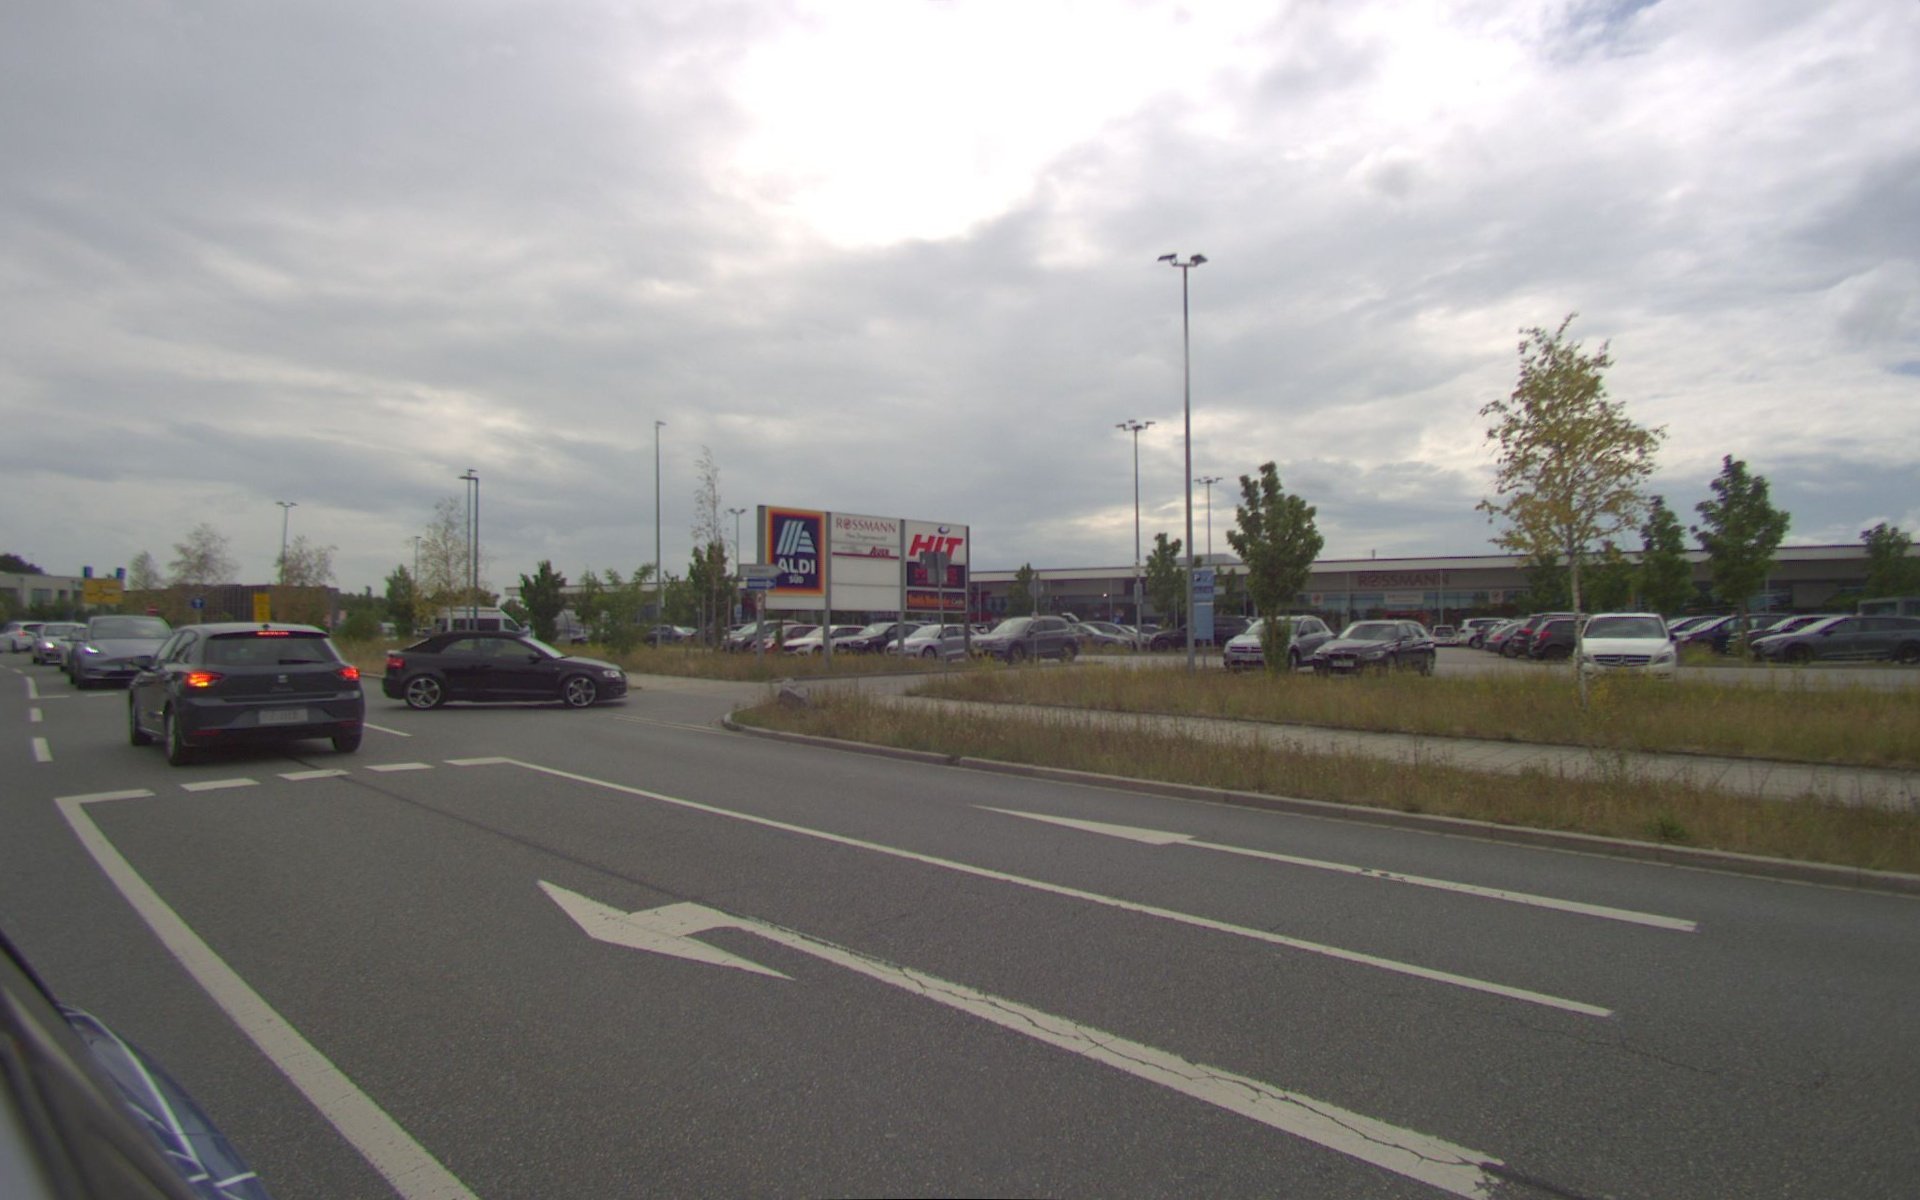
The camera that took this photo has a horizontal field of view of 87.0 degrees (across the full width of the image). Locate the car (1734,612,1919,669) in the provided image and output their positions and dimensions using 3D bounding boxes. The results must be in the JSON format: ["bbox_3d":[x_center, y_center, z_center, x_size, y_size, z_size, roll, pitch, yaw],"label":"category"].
[{"bbox_3d":[26.369,1.192,29.847,5.238,1.619,1.985,-1,-2,23],"label":"car"}]

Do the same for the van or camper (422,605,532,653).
[{"bbox_3d":[-29.971,1.801,62.943,2.238,2.821,5.800,-1,-2,35],"label":"van or camper"}]

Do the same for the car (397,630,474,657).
[{"bbox_3d":[-33.905,2.807,65.524,2.082,1.646,3.906,-2,-3,37],"label":"car"}]

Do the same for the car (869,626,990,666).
[{"bbox_3d":[-1.056,1.639,36.744,2.026,1.350,4.267,-2,-3,41],"label":"car"}]

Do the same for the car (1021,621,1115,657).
[{"bbox_3d":[5.103,1.856,47.794,3.976,1.619,1.983,-1,-3,25],"label":"car"}]

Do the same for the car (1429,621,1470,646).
[{"bbox_3d":[32.862,2.237,67.996,1.985,1.619,3.974,-1,-2,20],"label":"car"}]

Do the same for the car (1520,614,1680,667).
[{"bbox_3d":[20.357,1.307,32.404,3.974,1.619,1.985,-1,-2,23],"label":"car"}]

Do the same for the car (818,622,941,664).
[{"bbox_3d":[-3.048,1.650,38.929,4.315,1.517,2.241,2,-3,-45],"label":"car"}]

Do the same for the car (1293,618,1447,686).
[{"bbox_3d":[10.140,1.209,24.887,4.193,1.525,2.047,1,-2,-45],"label":"car"}]

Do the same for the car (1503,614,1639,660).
[{"bbox_3d":[22.397,1.381,37.287,3.974,1.619,1.985,-1,-2,23],"label":"car"}]

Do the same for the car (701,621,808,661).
[{"bbox_3d":[-9.050,1.820,44.759,2.080,1.667,4.253,-2,-3,43],"label":"car"}]

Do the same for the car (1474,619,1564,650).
[{"bbox_3d":[29.930,1.859,54.301,3.974,1.619,1.985,-1,-2,23],"label":"car"}]

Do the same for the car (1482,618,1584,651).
[{"bbox_3d":[29.322,1.786,51.929,4.265,1.619,1.985,-1,-2,23],"label":"car"}]

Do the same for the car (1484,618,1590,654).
[{"bbox_3d":[26.580,1.662,46.777,3.974,1.619,1.985,-1,-2,23],"label":"car"}]

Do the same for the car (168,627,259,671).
[{"bbox_3d":[-26.083,1.705,35.285,4.501,1.428,1.815,-2,-4,44],"label":"car"}]

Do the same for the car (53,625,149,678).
[{"bbox_3d":[-25.698,1.490,30.237,1.858,1.480,4.196,2,-2,-45],"label":"car"}]

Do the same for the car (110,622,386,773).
[{"bbox_3d":[-8.339,0.981,11.694,4.246,1.431,1.809,-2,-2,44],"label":"car"}]

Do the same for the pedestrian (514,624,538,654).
[{"bbox_3d":[-27.210,2.446,63.486,1.114,1.904,0.996,-2,-3,42],"label":"pedestrian"}]

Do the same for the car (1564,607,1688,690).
[{"bbox_3d":[14.159,1.006,21.450,1.985,1.571,4.210,-2,-3,35],"label":"car"}]

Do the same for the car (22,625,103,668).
[{"bbox_3d":[-31.861,1.631,35.896,4.031,1.449,1.684,-2,-3,42],"label":"car"}]

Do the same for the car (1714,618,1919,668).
[{"bbox_3d":[29.100,1.458,34.356,5.238,1.619,1.985,-1,-2,23],"label":"car"}]

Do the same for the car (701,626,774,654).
[{"bbox_3d":[-15.858,2.866,72.193,4.903,1.914,2.138,-1,-3,28],"label":"car"}]

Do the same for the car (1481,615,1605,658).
[{"bbox_3d":[22.912,1.449,39.973,3.973,1.619,1.985,-1,-2,22],"label":"car"}]

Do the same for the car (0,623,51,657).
[{"bbox_3d":[-48.772,2.075,52.573,4.705,1.649,1.971,-2,-5,45],"label":"car"}]

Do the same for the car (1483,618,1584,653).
[{"bbox_3d":[27.751,1.730,49.144,3.974,1.619,1.985,-1,-2,23],"label":"car"}]

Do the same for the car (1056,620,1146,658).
[{"bbox_3d":[7.326,2.013,52.567,4.410,1.936,1.828,-1,-2,18],"label":"car"}]

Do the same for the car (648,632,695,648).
[{"bbox_3d":[-26.618,3.650,93.278,3.985,1.453,1.979,-2,-3,31],"label":"car"}]

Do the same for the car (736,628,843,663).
[{"bbox_3d":[-7.206,1.922,42.987,4.036,1.402,2.002,2,-3,-44],"label":"car"}]

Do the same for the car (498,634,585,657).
[{"bbox_3d":[-24.390,2.643,59.099,2.009,1.314,4.281,-2,-3,39],"label":"car"}]

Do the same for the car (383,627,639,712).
[{"bbox_3d":[-8.186,1.255,18.858,4.158,1.449,1.780,1,-2,-18],"label":"car"}]

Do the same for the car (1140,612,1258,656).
[{"bbox_3d":[10.050,1.431,42.570,4.557,1.760,1.983,-1,-2,25],"label":"car"}]

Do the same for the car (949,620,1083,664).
[{"bbox_3d":[1.937,1.400,34.101,4.306,1.402,2.167,2,-3,-44],"label":"car"}]

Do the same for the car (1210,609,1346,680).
[{"bbox_3d":[8.598,1.148,27.148,2.027,1.736,4.198,-1,-2,40],"label":"car"}]

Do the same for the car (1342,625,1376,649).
[{"bbox_3d":[27.503,2.561,69.908,1.985,1.619,3.974,-1,-2,20],"label":"car"}]

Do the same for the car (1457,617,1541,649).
[{"bbox_3d":[30.369,1.898,57.160,3.974,1.746,1.985,-1,-2,23],"label":"car"}]

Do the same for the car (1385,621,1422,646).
[{"bbox_3d":[30.069,2.272,68.707,1.985,1.619,3.974,-1,-2,20],"label":"car"}]

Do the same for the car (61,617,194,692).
[{"bbox_3d":[-19.353,1.230,23.454,1.970,1.573,4.616,2,-3,-44],"label":"car"}]

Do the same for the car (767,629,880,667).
[{"bbox_3d":[-5.514,1.926,41.165,2.011,1.468,4.270,-2,-3,43],"label":"car"}]

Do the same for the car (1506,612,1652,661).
[{"bbox_3d":[21.164,1.271,34.810,3.974,1.619,1.839,-1,-2,23],"label":"car"}]
